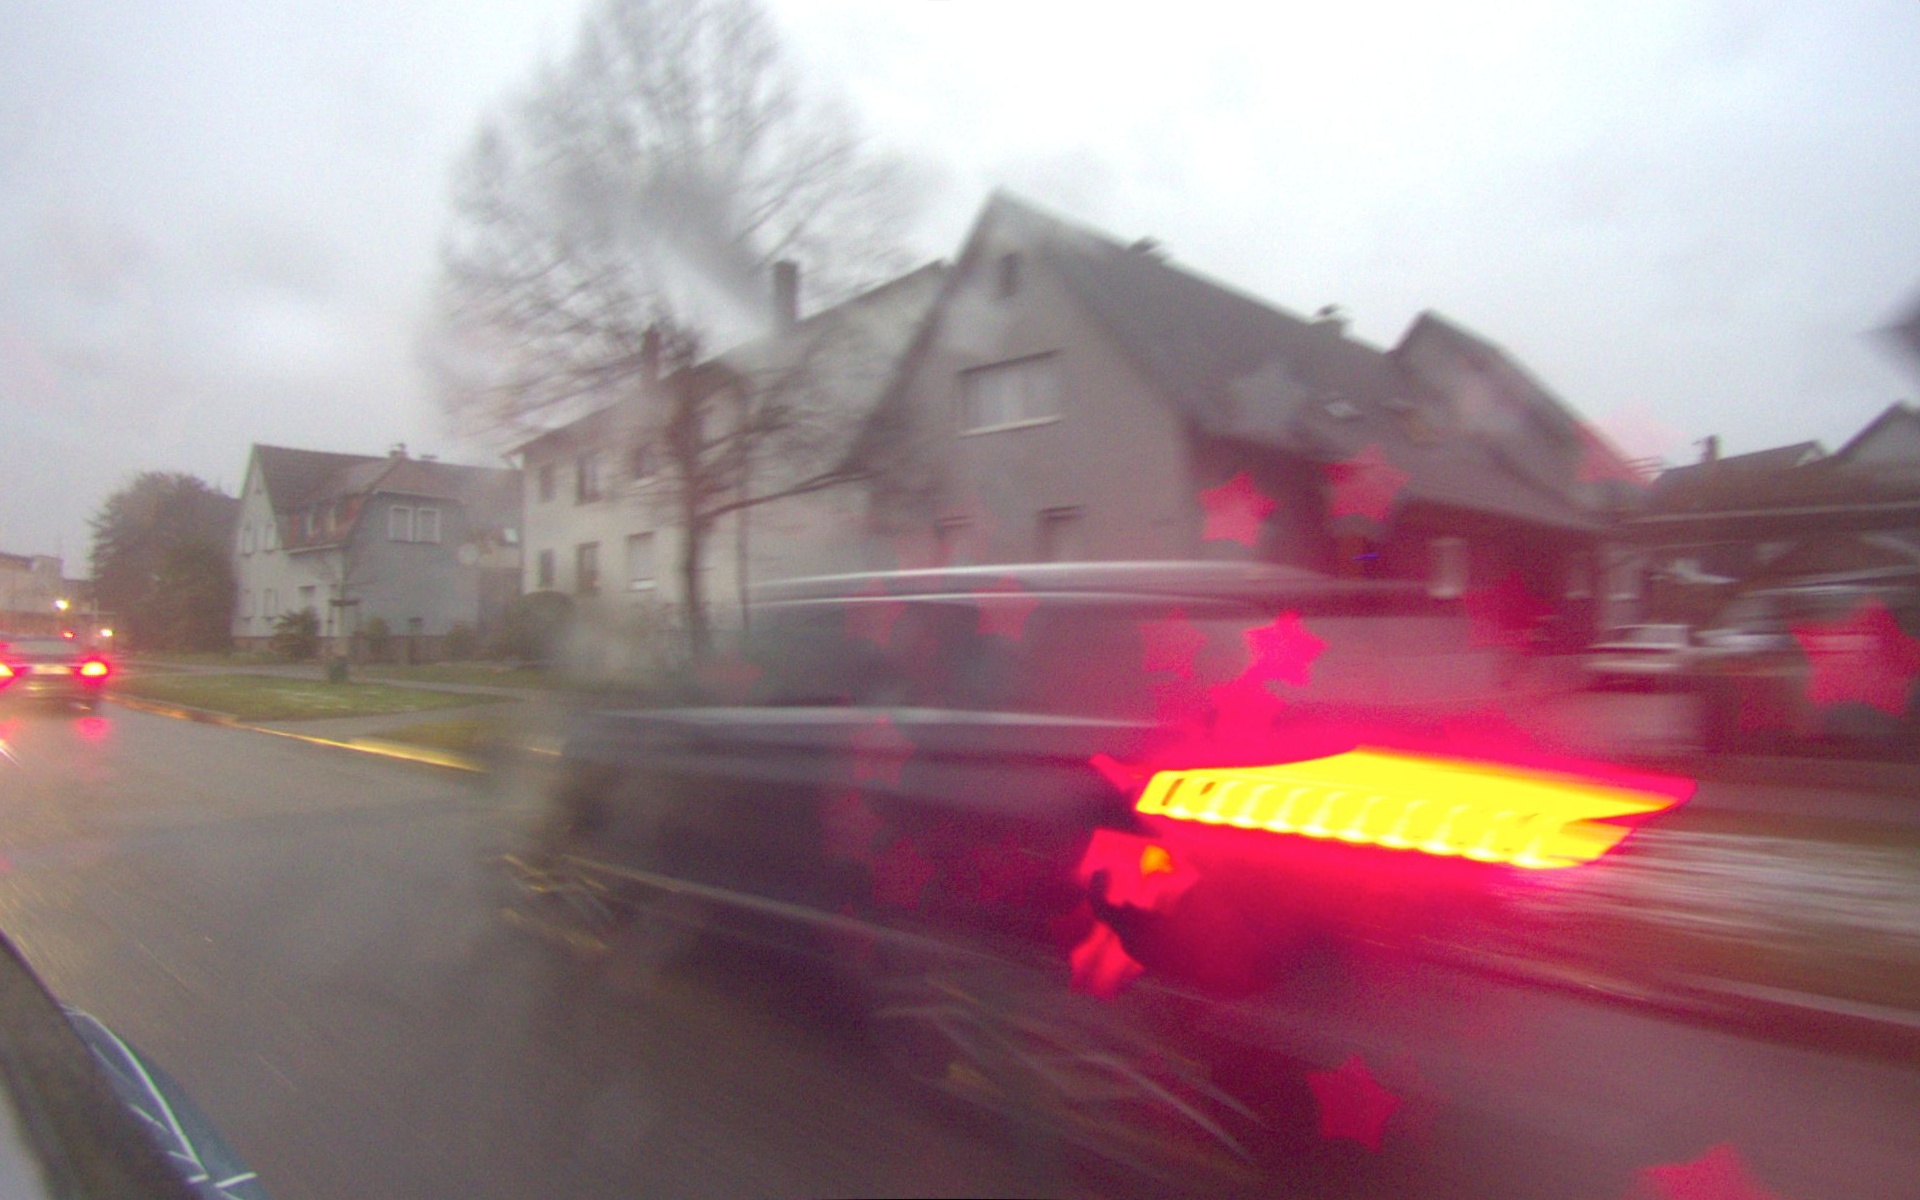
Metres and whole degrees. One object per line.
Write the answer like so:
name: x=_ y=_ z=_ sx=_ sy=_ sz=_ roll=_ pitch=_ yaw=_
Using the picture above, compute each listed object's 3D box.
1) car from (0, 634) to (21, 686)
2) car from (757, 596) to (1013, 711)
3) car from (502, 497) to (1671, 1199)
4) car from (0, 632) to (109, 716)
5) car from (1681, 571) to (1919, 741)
car: x=-28.510 y=1.694 z=29.158 sx=3.998 sy=1.452 sz=1.686 roll=-2 pitch=-4 yaw=41
car: x=-1.442 y=0.896 z=17.928 sx=4.568 sy=1.769 sz=1.972 roll=-2 pitch=-2 yaw=43
car: x=0.078 y=0.716 z=3.945 sx=4.222 sy=1.645 sz=1.795 roll=-2 pitch=-3 yaw=41
car: x=-17.935 y=1.362 z=19.522 sx=4.423 sy=1.452 sz=1.685 roll=-2 pitch=-4 yaw=42
car: x=11.098 y=0.658 z=13.036 sx=4.495 sy=1.814 sz=1.914 roll=1 pitch=-2 yaw=-41
